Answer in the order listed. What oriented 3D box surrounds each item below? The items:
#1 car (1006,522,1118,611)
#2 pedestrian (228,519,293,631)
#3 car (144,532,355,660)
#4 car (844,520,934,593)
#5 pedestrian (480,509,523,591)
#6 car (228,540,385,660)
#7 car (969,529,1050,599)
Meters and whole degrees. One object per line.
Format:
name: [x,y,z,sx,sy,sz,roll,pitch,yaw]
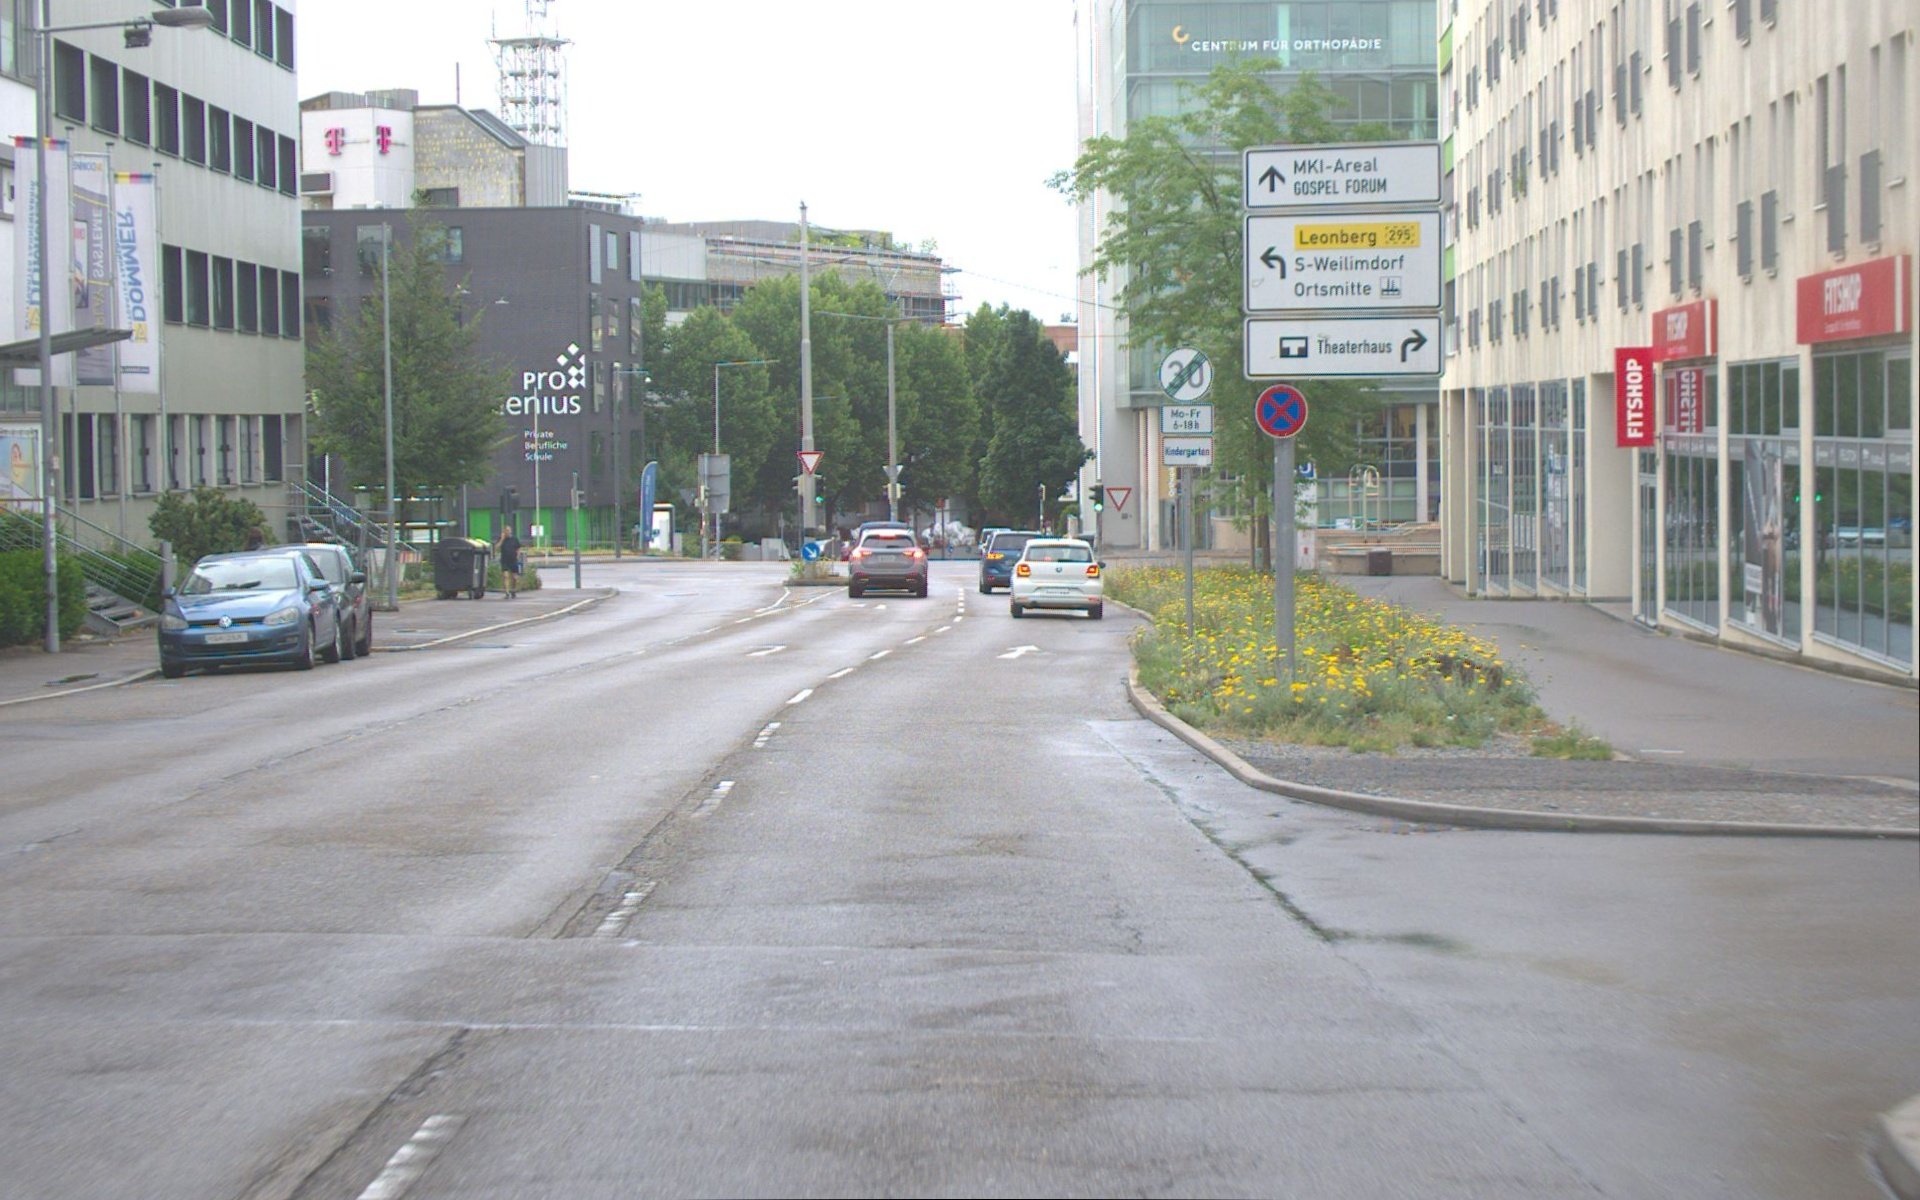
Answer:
car: [1.911,-0.640,63.638,1.994,1.571,3.996,0,2,2]
pedestrian: [-10.766,-0.384,52.890,0.728,1.702,0.903,-1,0,-27]
car: [-8.601,-0.065,41.948,1.913,1.476,4.357,0,0,-3]
car: [-1.696,-1.030,83.127,2.141,1.722,4.000,0,0,-1]
pedestrian: [-11.047,-1.200,82.768,0.959,1.948,0.779,0,0,-12]
car: [-8.761,-0.024,46.278,1.563,1.509,3.171,-2,1,-2]
car: [1.260,-0.952,88.634,1.993,1.744,3.673,0,1,0]
